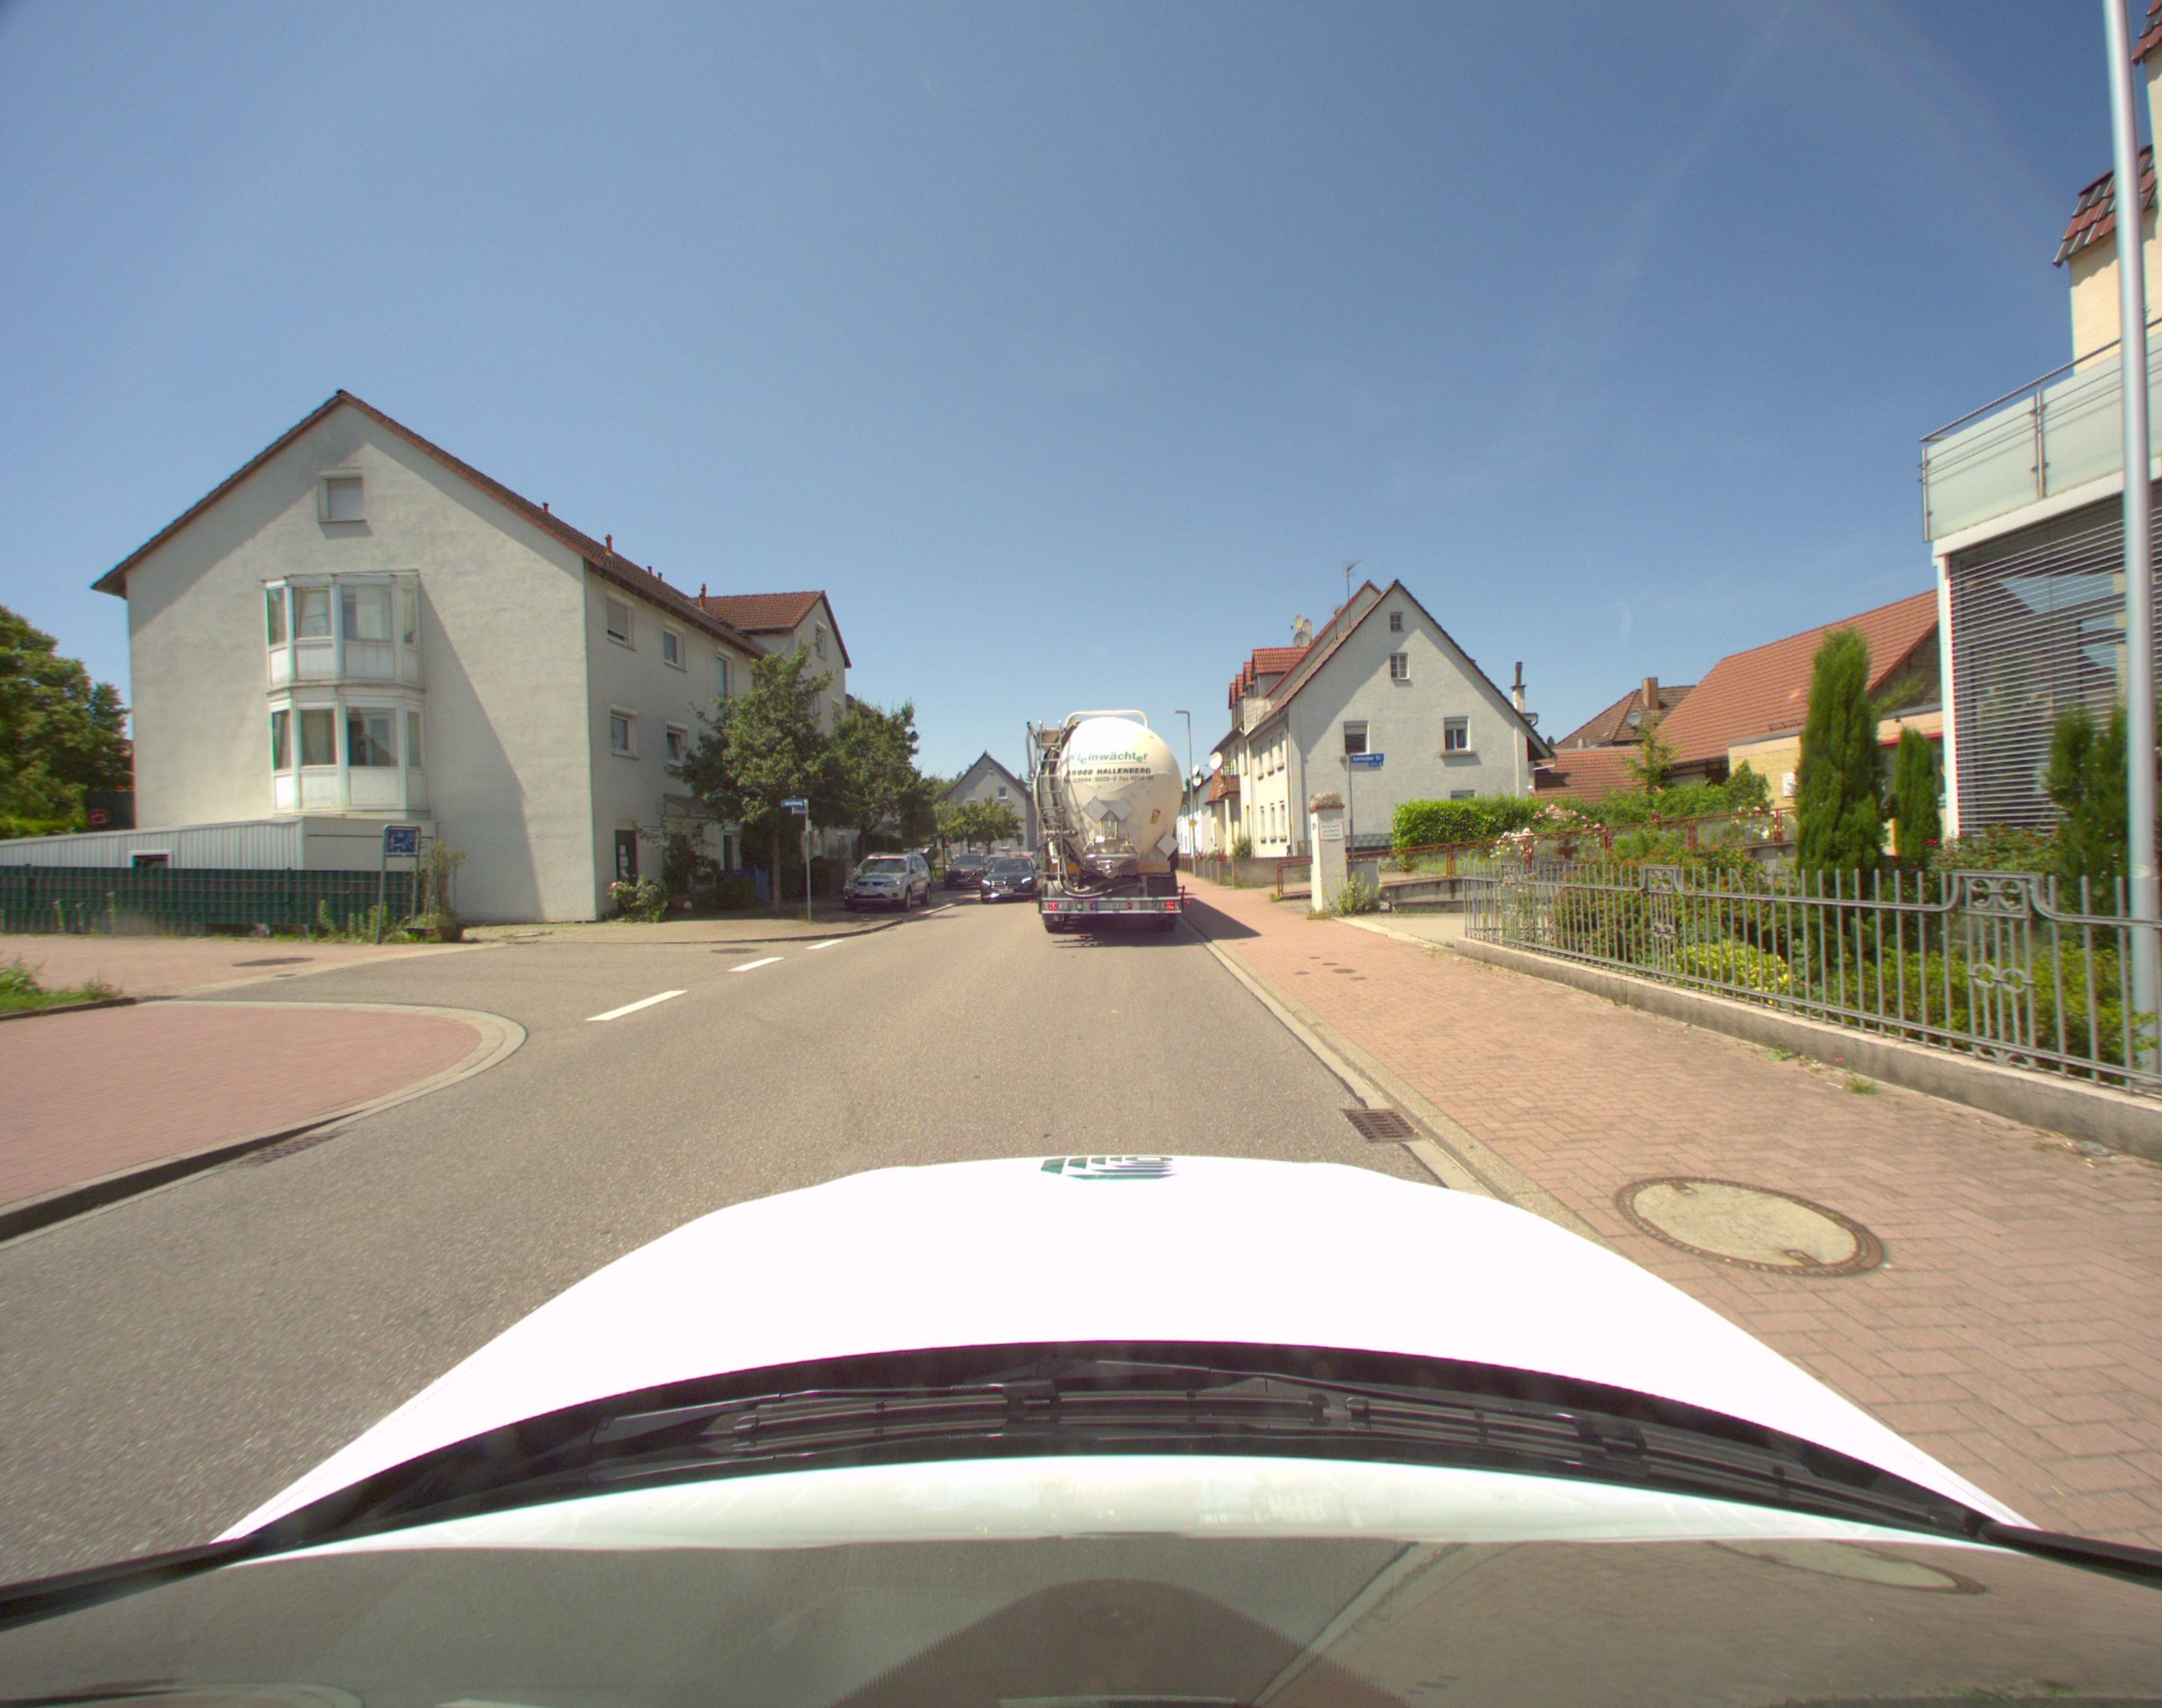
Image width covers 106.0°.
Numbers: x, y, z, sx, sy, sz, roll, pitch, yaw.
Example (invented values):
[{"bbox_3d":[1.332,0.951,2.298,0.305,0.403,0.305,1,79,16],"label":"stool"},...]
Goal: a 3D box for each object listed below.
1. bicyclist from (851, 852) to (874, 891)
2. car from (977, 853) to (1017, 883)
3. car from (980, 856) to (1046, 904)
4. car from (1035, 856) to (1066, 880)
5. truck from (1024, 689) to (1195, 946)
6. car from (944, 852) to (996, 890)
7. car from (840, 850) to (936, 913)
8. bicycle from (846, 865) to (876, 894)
[{"bbox_3d":[-8.548,0.669,31.826,0.657,1.494,0.909,1,0,-2],"label":"bicyclist"},{"bbox_3d":[-4.592,0.736,45.055,1.691,1.581,3.839,-1,0,1],"label":"car"},{"bbox_3d":[-2.293,0.841,28.497,1.724,1.460,4.695,-3,0,1],"label":"car"},{"bbox_3d":[-1.977,0.902,53.934,1.700,1.370,3.871,-4,0,2],"label":"car"},{"bbox_3d":[0.532,-0.600,17.757,2.632,4.015,9.562,-2,0,1],"label":"truck"},{"bbox_3d":[-5.129,0.748,38.184,1.685,1.620,4.000,-1,0,3],"label":"car"},{"bbox_3d":[-5.686,0.753,24.515,1.700,1.686,4.527,-1,0,1],"label":"car"},{"bbox_3d":[-8.561,0.979,31.743,0.669,1.056,2.025,0,0,-2],"label":"bicycle"}]
